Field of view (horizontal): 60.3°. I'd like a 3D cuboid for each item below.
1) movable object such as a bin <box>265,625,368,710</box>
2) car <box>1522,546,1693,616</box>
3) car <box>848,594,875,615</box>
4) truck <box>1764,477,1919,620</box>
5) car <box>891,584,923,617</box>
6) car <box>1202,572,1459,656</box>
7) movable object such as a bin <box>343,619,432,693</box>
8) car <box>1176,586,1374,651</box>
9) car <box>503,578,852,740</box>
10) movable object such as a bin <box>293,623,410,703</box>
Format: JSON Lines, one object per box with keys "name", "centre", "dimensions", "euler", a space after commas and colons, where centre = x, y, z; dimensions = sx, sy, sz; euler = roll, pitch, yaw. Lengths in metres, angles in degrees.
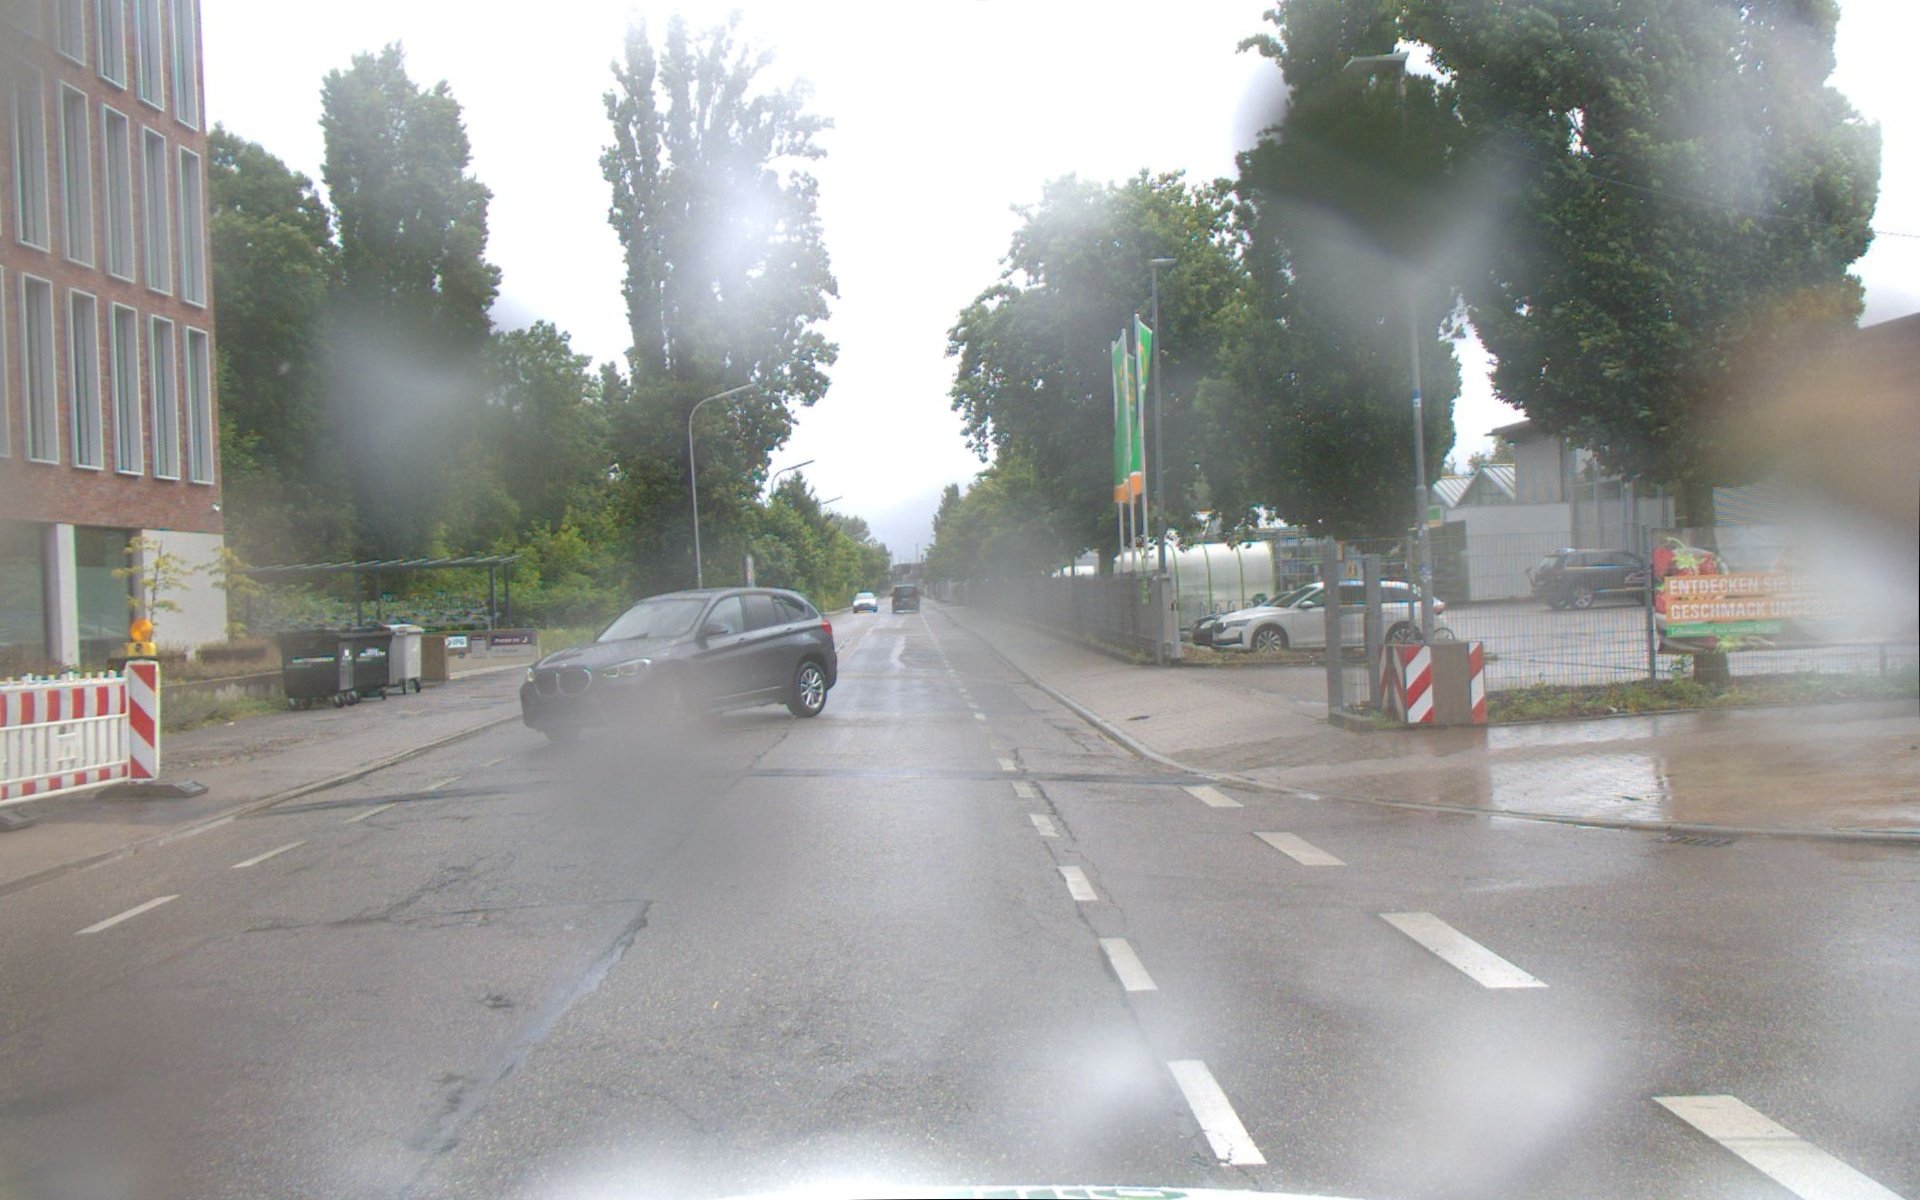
{"name": "movable object such as a bin", "centre": [-10.851, 1.122, 27.961], "dimensions": [1.271, 1.331, 1.446], "euler": [-2, 0, -8]}
{"name": "car", "centre": [19.520, -0.570, 49.995], "dimensions": [4.273, 1.864, 2.063], "euler": [-3, 0, -1]}
{"name": "car", "centre": [-7.481, 0.340, 125.689], "dimensions": [1.698, 1.475, 4.380], "euler": [-5, 0, -1]}
{"name": "truck", "centre": [19.383, -1.041, 33.884], "dimensions": [2.254, 2.705, 7.417], "euler": [-3, 0, 1]}
{"name": "car", "centre": [-3.489, 0.046, 107.597], "dimensions": [1.954, 1.943, 4.198], "euler": [-3, -1, -3]}
{"name": "car", "centre": [7.285, 0.275, 32.762], "dimensions": [4.609, 1.488, 1.889], "euler": [-2, 0, -3]}
{"name": "movable object such as a bin", "centre": [-11.153, 1.070, 32.300], "dimensions": [1.270, 1.355, 1.357], "euler": [-2, 0, -3]}
{"name": "car", "centre": [6.703, 0.389, 35.414], "dimensions": [3.860, 1.278, 1.618], "euler": [-1, 0, -3]}
{"name": "car", "centre": [-3.183, 0.612, 19.454], "dimensions": [1.727, 1.596, 4.140], "euler": [-2, 1, 31]}
{"name": "movable object such as a bin", "centre": [-10.947, 1.124, 29.800], "dimensions": [1.346, 1.331, 1.449], "euler": [-2, 0, 20]}
